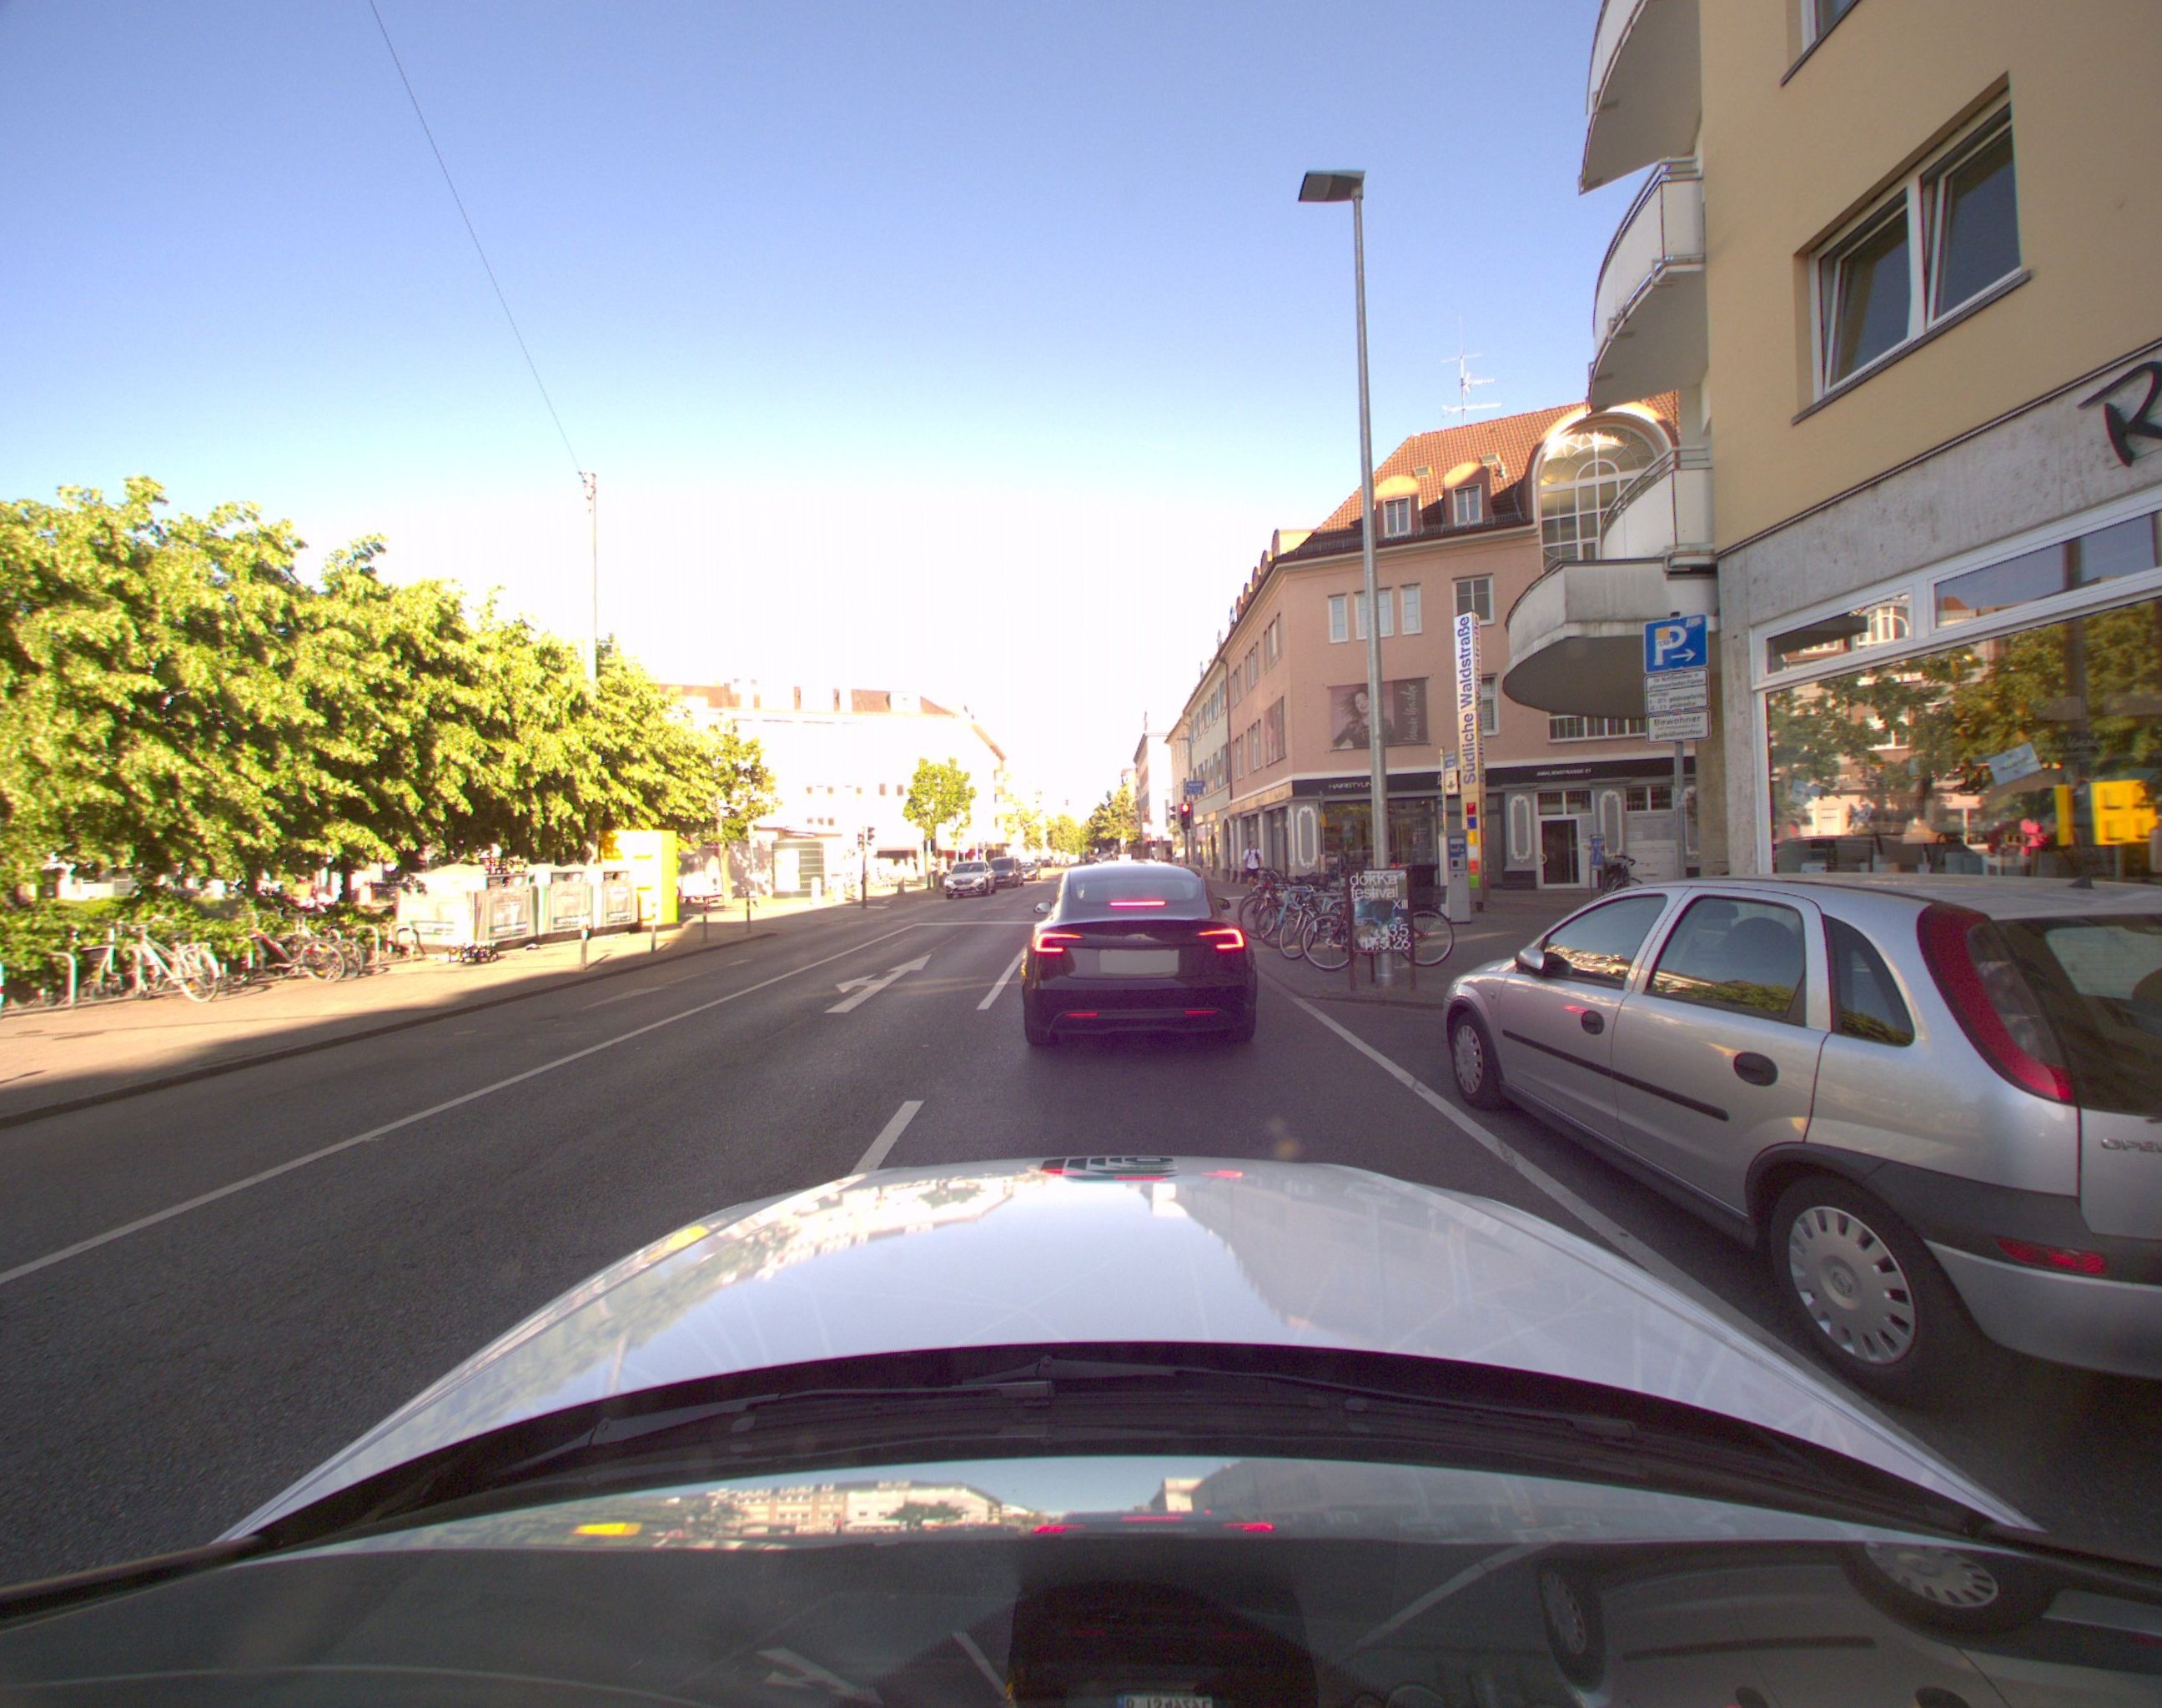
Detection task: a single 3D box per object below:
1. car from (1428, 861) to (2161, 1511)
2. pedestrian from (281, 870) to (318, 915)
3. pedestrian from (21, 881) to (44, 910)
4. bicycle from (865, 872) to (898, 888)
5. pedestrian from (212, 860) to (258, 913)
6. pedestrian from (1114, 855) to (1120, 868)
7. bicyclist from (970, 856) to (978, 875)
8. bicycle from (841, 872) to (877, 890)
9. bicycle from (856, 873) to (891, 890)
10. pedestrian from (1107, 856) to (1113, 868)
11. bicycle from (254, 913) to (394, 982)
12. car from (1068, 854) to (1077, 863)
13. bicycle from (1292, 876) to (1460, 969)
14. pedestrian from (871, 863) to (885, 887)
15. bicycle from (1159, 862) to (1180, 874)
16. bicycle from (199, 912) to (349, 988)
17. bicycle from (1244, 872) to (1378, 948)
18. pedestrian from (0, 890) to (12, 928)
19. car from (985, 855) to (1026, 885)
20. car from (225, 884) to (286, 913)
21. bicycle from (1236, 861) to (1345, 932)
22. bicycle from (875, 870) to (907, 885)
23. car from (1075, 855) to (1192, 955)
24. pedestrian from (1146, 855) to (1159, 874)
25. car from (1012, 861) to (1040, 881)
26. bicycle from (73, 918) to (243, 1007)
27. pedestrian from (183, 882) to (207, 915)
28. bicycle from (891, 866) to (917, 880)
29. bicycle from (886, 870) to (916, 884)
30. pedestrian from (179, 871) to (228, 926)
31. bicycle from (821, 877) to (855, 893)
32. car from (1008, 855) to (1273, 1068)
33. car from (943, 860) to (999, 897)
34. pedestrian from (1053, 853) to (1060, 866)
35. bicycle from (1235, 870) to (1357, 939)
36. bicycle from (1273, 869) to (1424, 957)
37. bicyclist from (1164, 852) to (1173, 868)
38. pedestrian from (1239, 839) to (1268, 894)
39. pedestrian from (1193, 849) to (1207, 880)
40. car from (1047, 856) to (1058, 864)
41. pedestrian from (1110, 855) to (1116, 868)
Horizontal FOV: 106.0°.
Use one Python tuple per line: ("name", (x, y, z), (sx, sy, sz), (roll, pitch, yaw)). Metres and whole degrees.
("car", (2.949, 0.742, 3.509), (1.540, 1.390, 3.479), (-1, -1, 3))
("pedestrian", (-30.368, 1.489, 31.661), (0.754, 1.698, 0.793), (-1, 0, 25))
("pedestrian", (-77.838, 3.075, 60.476), (0.891, 2.171, 0.882), (-1, -1, 26))
("bicycle", (-12.319, 1.596, 50.309), (1.857, 0.934, 0.606), (0, -1, 0))
("pedestrian", (-33.065, 1.271, 31.849), (0.890, 2.013, 0.893), (-1, 0, 15))
("pedestrian", (4.250, 0.888, 95.078), (0.524, 1.422, 0.475), (0, -1, -28))
("bicyclist", (-8.749, 0.949, 66.448), (0.525, 1.503, 0.473), (0, -1, -22))
("bicycle", (-12.440, 1.503, 45.641), (1.857, 0.934, 0.606), (-1, -1, 0))
("bicycle", (-12.195, 1.619, 47.830), (1.857, 0.934, 0.606), (0, -1, 0))
("pedestrian", (3.402, 0.898, 95.118), (0.474, 1.417, 0.517), (0, -1, -29))
("bicycle", (-11.323, 1.375, 12.190), (1.888, 0.955, 0.518), (-1, -1, 11))
("car", (-1.980, 1.089, 187.458), (1.986, 2.013, 4.001), (-1, 0, 2))
("bicycle", (3.600, 0.842, 10.020), (1.862, 1.038, 0.354), (-3, -1, 8))
("pedestrian", (-17.437, 1.800, 69.931), (1.060, 2.014, 1.049), (0, -1, -18))
("bicycle", (7.773, 1.235, 71.258), (1.787, 1.007, 0.469), (0, -1, -15))
("bicycle", (-11.518, 1.352, 11.626), (1.913, 1.003, 0.518), (-1, -1, 11))
("bicycle", (3.490, 0.854, 12.482), (1.864, 1.038, 0.534), (-3, -1, 5))
("pedestrian", (-58.539, 2.972, 43.818), (1.145, 2.014, 1.040), (-1, -1, 26))
("car", (-4.312, 0.882, 47.039), (1.780, 1.646, 4.404), (-1, 0, 2))
("car", (-43.108, 2.299, 42.508), (3.526, 1.386, 1.703), (-1, 0, 36))
("bicycle", (3.775, 0.763, 14.776), (1.818, 1.169, 0.507), (-3, -1, 7))
("bicycle", (-12.268, 1.528, 52.595), (1.857, 0.934, 0.606), (-1, 0, 0))
("car", (0.793, 0.752, 13.931), (1.712, 1.425, 3.757), (-1, 0, 0))
("pedestrian", (6.075, 0.884, 69.358), (0.756, 1.631, 0.951), (0, -1, -16))
("car", (-4.032, 1.227, 60.273), (1.709, 1.446, 3.846), (0, -1, 2))
("bicycle", (-11.625, 1.344, 10.266), (1.919, 1.015, 0.518), (-1, -1, 12))
("pedestrian", (-48.774, 2.440, 44.822), (0.842, 1.717, 0.761), (-2, -1, 35))
("bicycle", (-17.058, 1.821, 78.488), (2.373, 1.296, 0.509), (0, -1, -25))
("bicycle", (-12.188, 1.547, 55.043), (1.857, 0.934, 0.606), (-1, 0, 0))
("pedestrian", (-32.701, 1.645, 30.347), (0.890, 2.013, 0.893), (-1, 0, 15))
("bicycle", (-12.839, 1.637, 43.069), (1.640, 0.792, 0.606), (0, -1, -3))
("car", (0.475, 0.765, 7.664), (1.815, 1.442, 4.001), (-1, -1, 2))
("car", (-4.859, 1.048, 36.369), (1.782, 1.460, 3.759), (-4, -1, 2))
("pedestrian", (-3.394, 0.752, 112.551), (0.845, 1.695, 0.718), (-1, 0, -1))
("bicycle", (3.579, 0.843, 13.659), (1.863, 1.038, 0.548), (-3, -1, 7))
("bicycle", (3.650, 0.809, 11.195), (1.864, 1.087, 0.415), (-3, -1, 5))
("bicyclist", (7.649, 0.502, 71.235), (0.670, 1.395, 0.460), (0, -1, -14))
("pedestrian", (5.776, 0.425, 27.339), (0.747, 1.765, 0.838), (-4, -1, 6))
("pedestrian", (6.715, 0.590, 46.037), (0.704, 1.742, 0.540), (-1, 0, 1))
("car", (-5.110, 1.069, 146.350), (1.700, 1.552, 3.697), (-1, 0, 1))
("pedestrian", (3.655, 0.872, 94.332), (0.524, 1.422, 0.475), (0, -1, -28))
